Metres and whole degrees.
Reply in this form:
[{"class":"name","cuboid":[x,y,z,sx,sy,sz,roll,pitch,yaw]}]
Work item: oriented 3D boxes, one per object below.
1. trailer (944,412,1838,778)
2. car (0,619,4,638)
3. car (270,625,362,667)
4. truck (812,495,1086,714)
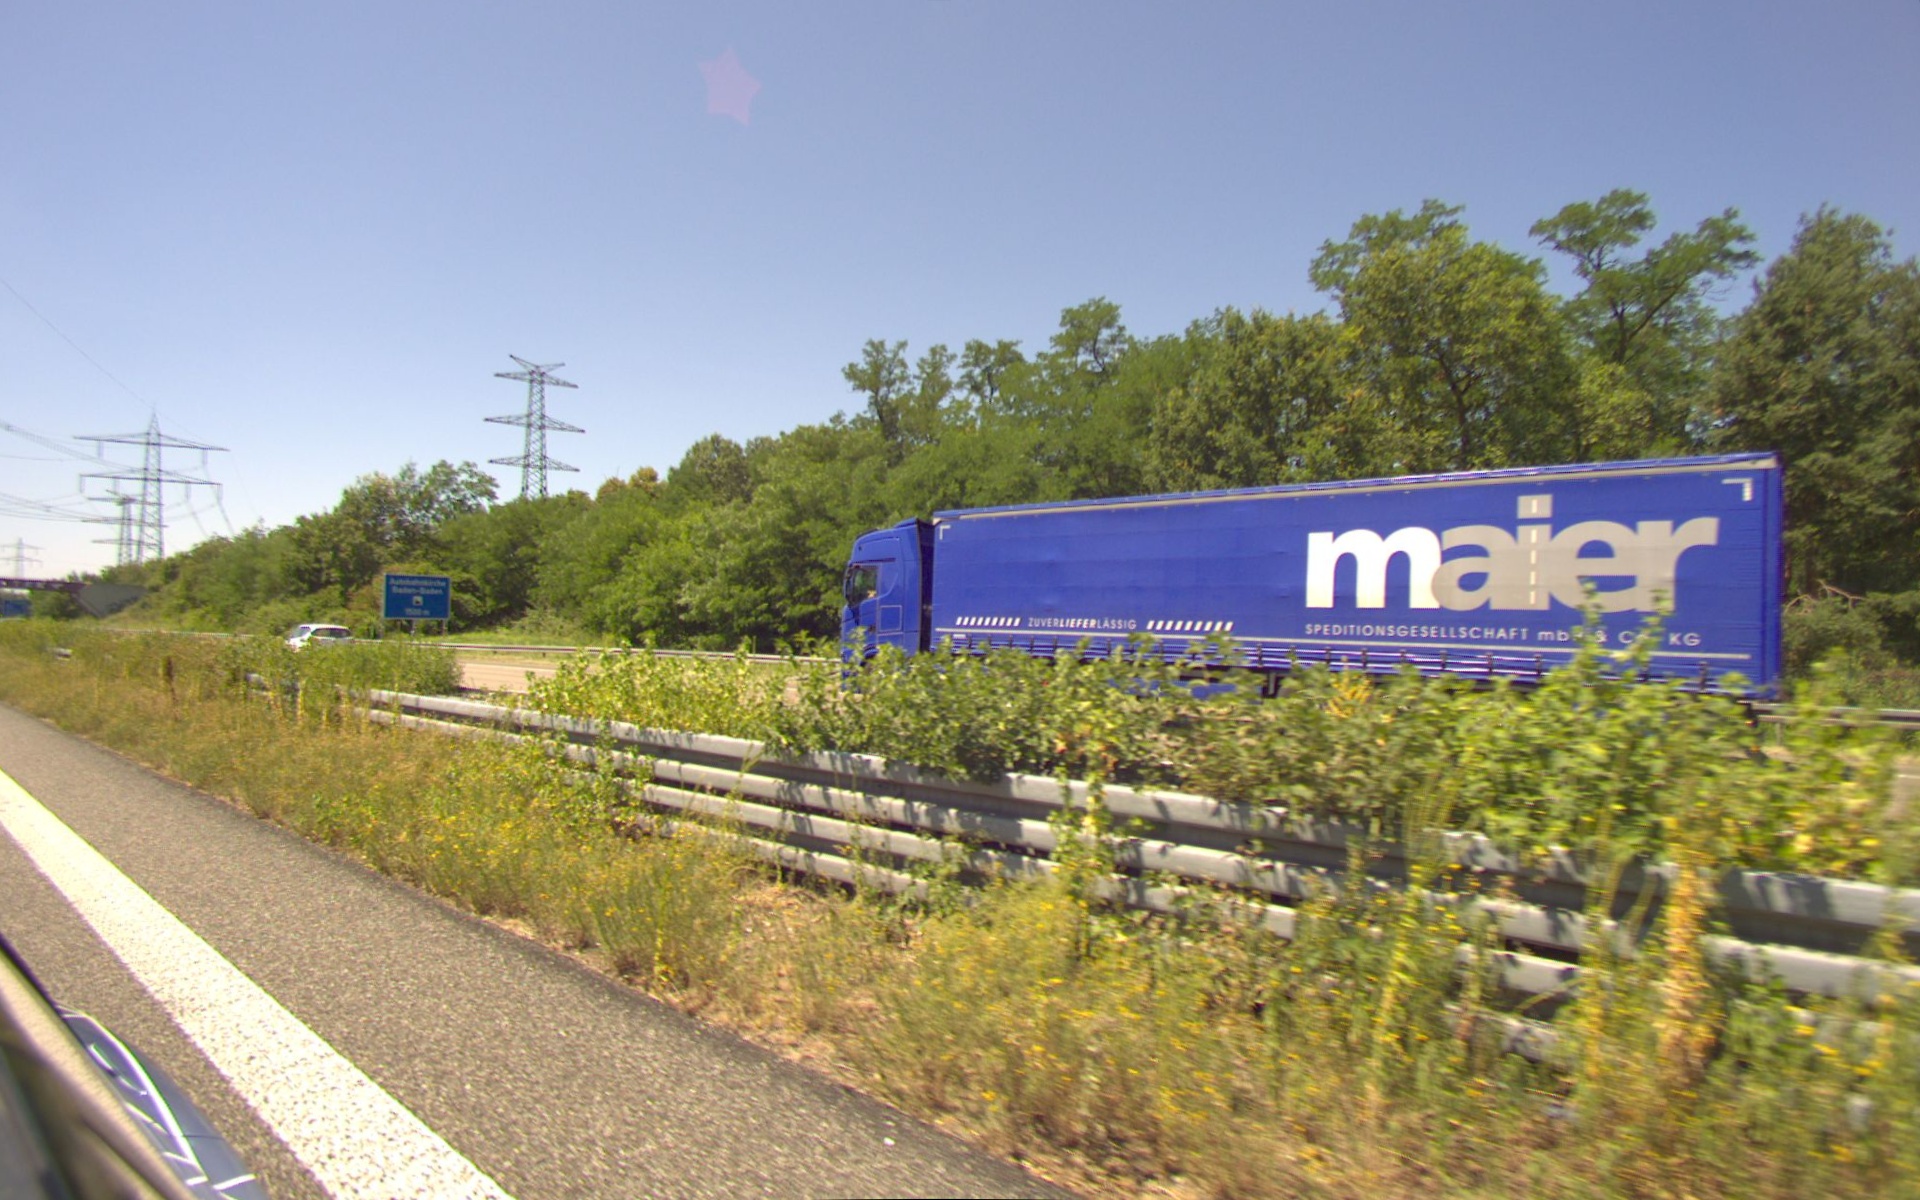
[{"class":"trailer","cuboid":[5.615,0.083,16.819,13.458,4.163,2.446,-1,-4,41]},{"class":"car","cuboid":[-102.763,2.971,106.782,5.409,1.947,1.973,-1,-4,40]},{"class":"car","cuboid":[-23.832,1.682,37.426,3.998,1.460,1.788,-1,-3,41]},{"class":"truck","cuboid":[-0.351,0.184,21.998,5.681,4.165,2.441,-1,-4,41]}]
